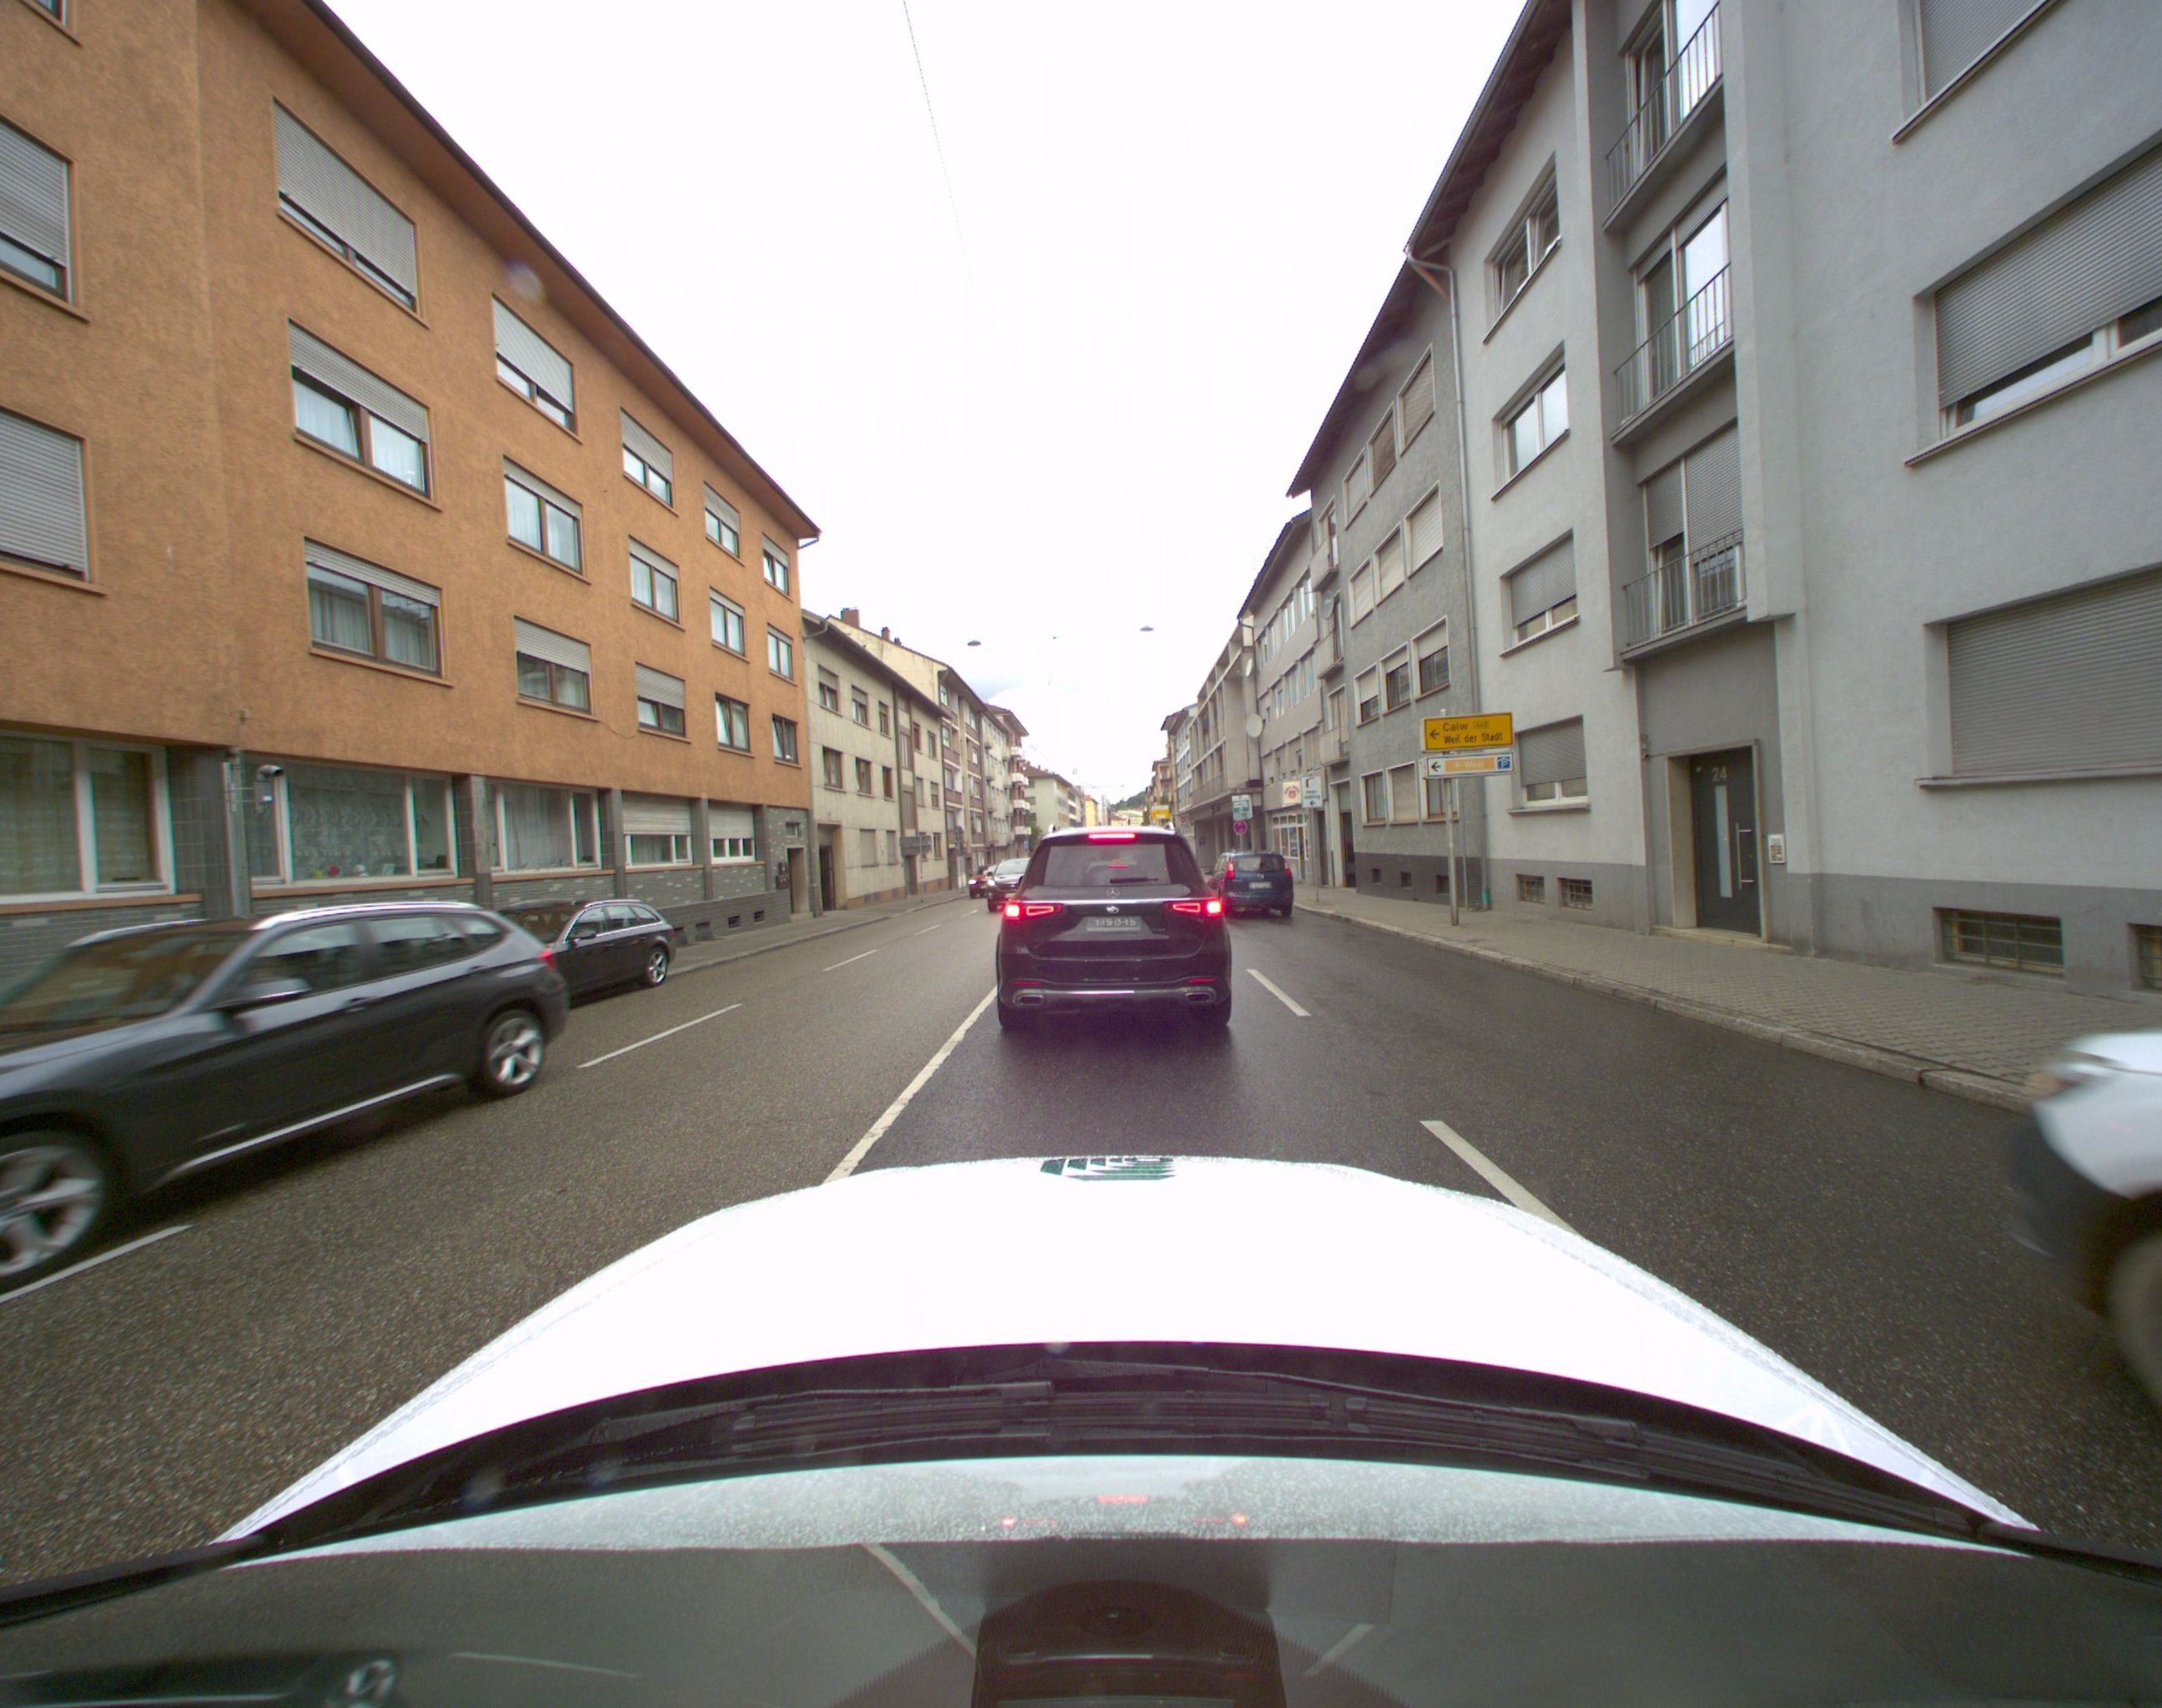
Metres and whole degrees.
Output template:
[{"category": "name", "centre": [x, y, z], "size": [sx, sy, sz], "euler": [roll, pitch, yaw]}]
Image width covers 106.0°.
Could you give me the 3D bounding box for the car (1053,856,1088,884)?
[{"category": "car", "centre": [-0.701, 1.097, 57.123], "size": [2.119, 1.720, 4.819], "euler": [-5, 0, 1]}]

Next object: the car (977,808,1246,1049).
[{"category": "car", "centre": [0.277, 0.567, 8.160], "size": [2.018, 1.806, 4.001], "euler": [0, 0, 1]}]

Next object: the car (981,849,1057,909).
[{"category": "car", "centre": [-2.006, 0.768, 27.714], "size": [1.828, 1.727, 4.479], "euler": [-5, 0, 4]}]

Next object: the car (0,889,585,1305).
[{"category": "car", "centre": [-5.172, 1.121, 4.842], "size": [1.697, 1.507, 4.160], "euler": [-5, 0, 1]}]

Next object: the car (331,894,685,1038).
[{"category": "car", "centre": [-7.732, 1.411, 11.689], "size": [1.789, 1.438, 4.528], "euler": [0, 0, 1]}]

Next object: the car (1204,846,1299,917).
[{"category": "car", "centre": [4.293, 0.643, 21.102], "size": [1.800, 1.606, 4.216], "euler": [-1, 0, 4]}]

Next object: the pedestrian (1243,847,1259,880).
[{"category": "pedestrian", "centre": [8.372, 0.481, 40.166], "size": [0.558, 1.578, 0.526], "euler": [-5, 0, 1]}]

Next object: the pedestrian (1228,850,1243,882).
[{"category": "pedestrian", "centre": [7.613, 0.588, 40.184], "size": [0.504, 1.500, 0.562], "euler": [-5, 0, 1]}]

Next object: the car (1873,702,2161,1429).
[{"category": "car", "centre": [3.484, 0.499, 0.312], "size": [1.932, 1.775, 4.751], "euler": [-1, 0, 4]}]

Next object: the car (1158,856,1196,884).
[{"category": "car", "centre": [5.114, 0.807, 43.820], "size": [1.615, 1.430, 4.313], "euler": [0, 0, 1]}]

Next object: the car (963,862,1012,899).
[{"category": "car", "centre": [-4.671, 1.293, 41.387], "size": [1.791, 1.584, 4.316], "euler": [-5, 0, 1]}]
